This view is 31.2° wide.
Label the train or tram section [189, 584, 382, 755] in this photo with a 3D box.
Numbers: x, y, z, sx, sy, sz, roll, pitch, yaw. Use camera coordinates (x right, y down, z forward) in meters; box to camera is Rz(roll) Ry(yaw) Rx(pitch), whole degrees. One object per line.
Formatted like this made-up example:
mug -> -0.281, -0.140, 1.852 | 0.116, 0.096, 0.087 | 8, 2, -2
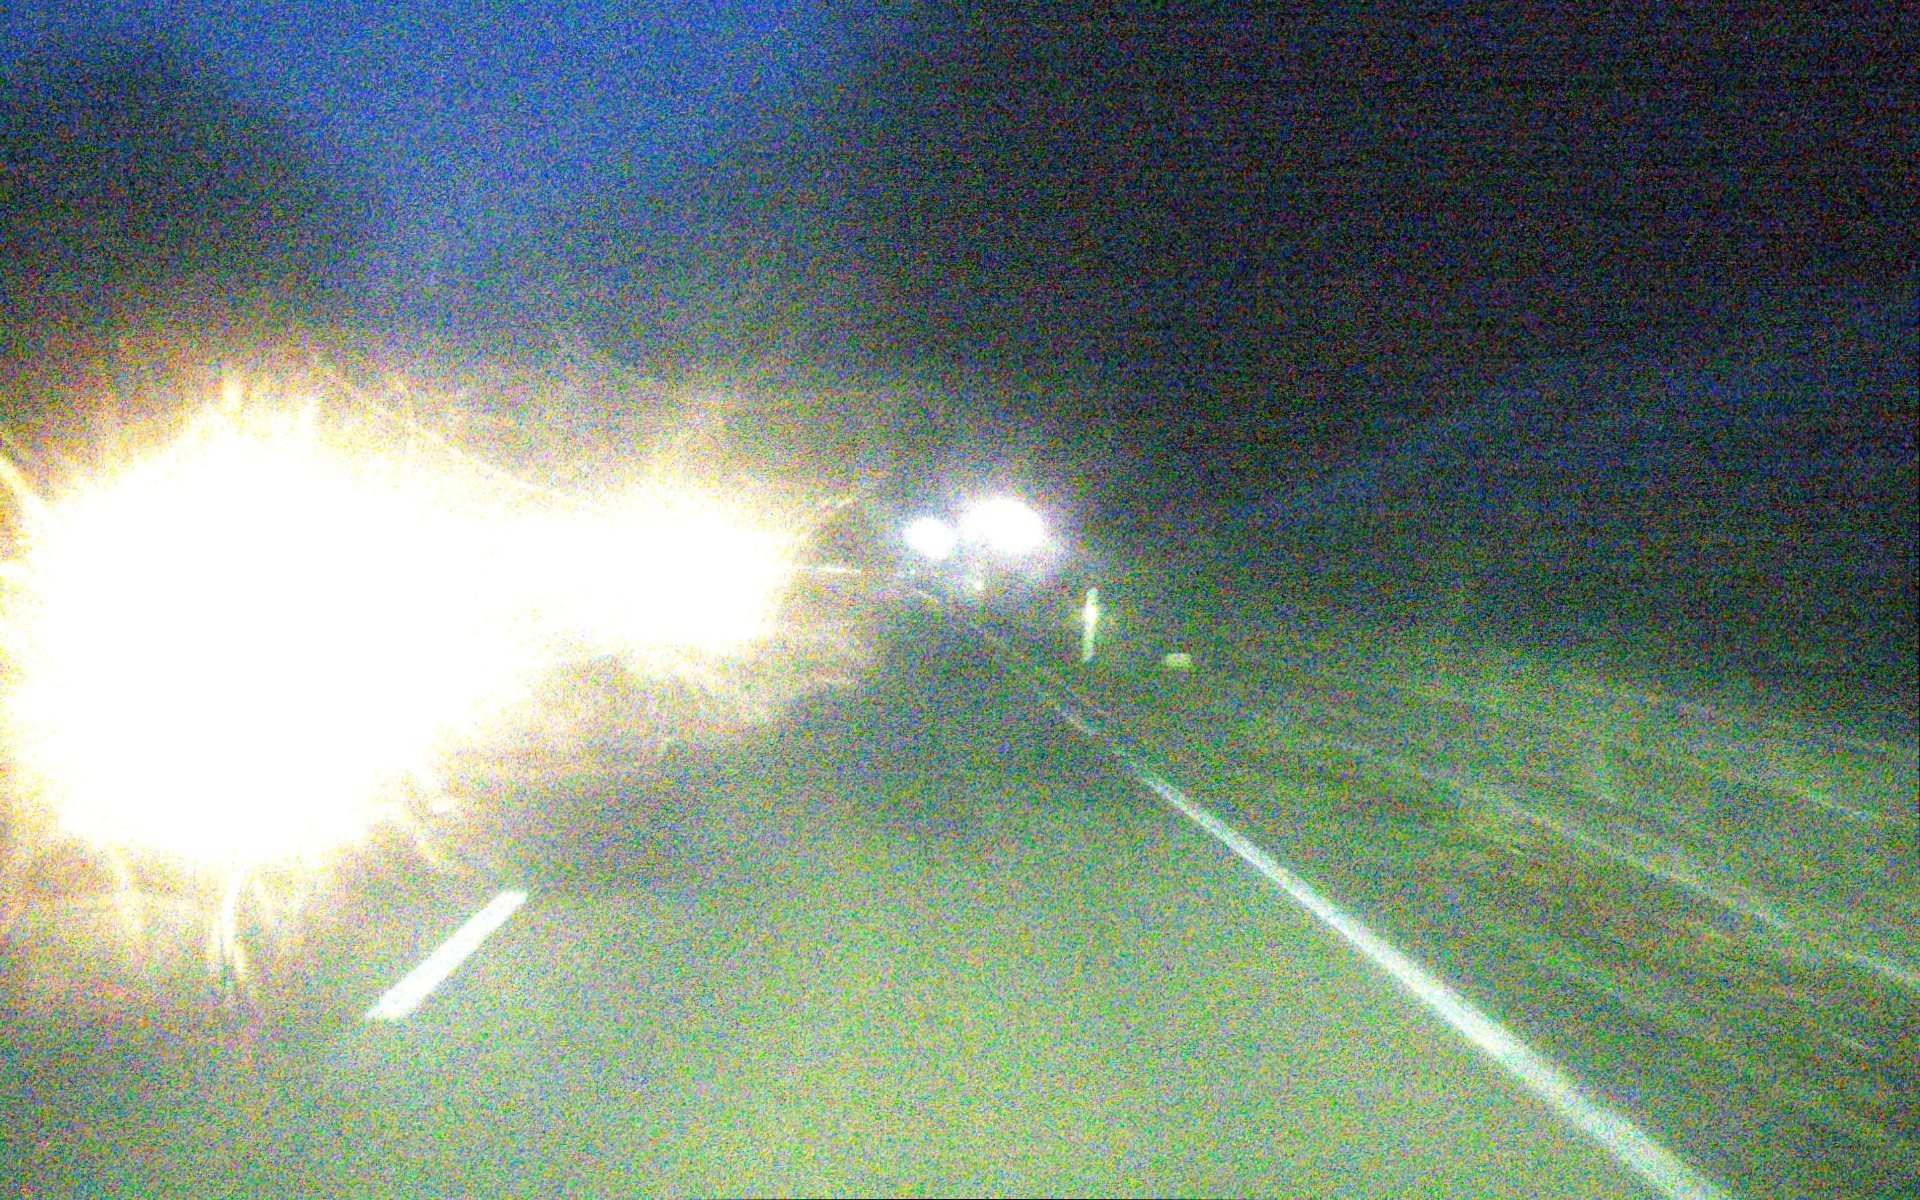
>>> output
train or tram section -> -14.793, 1.433, 75.997 | 2.843, 3.448, 8.554 | 1, 1, -2
